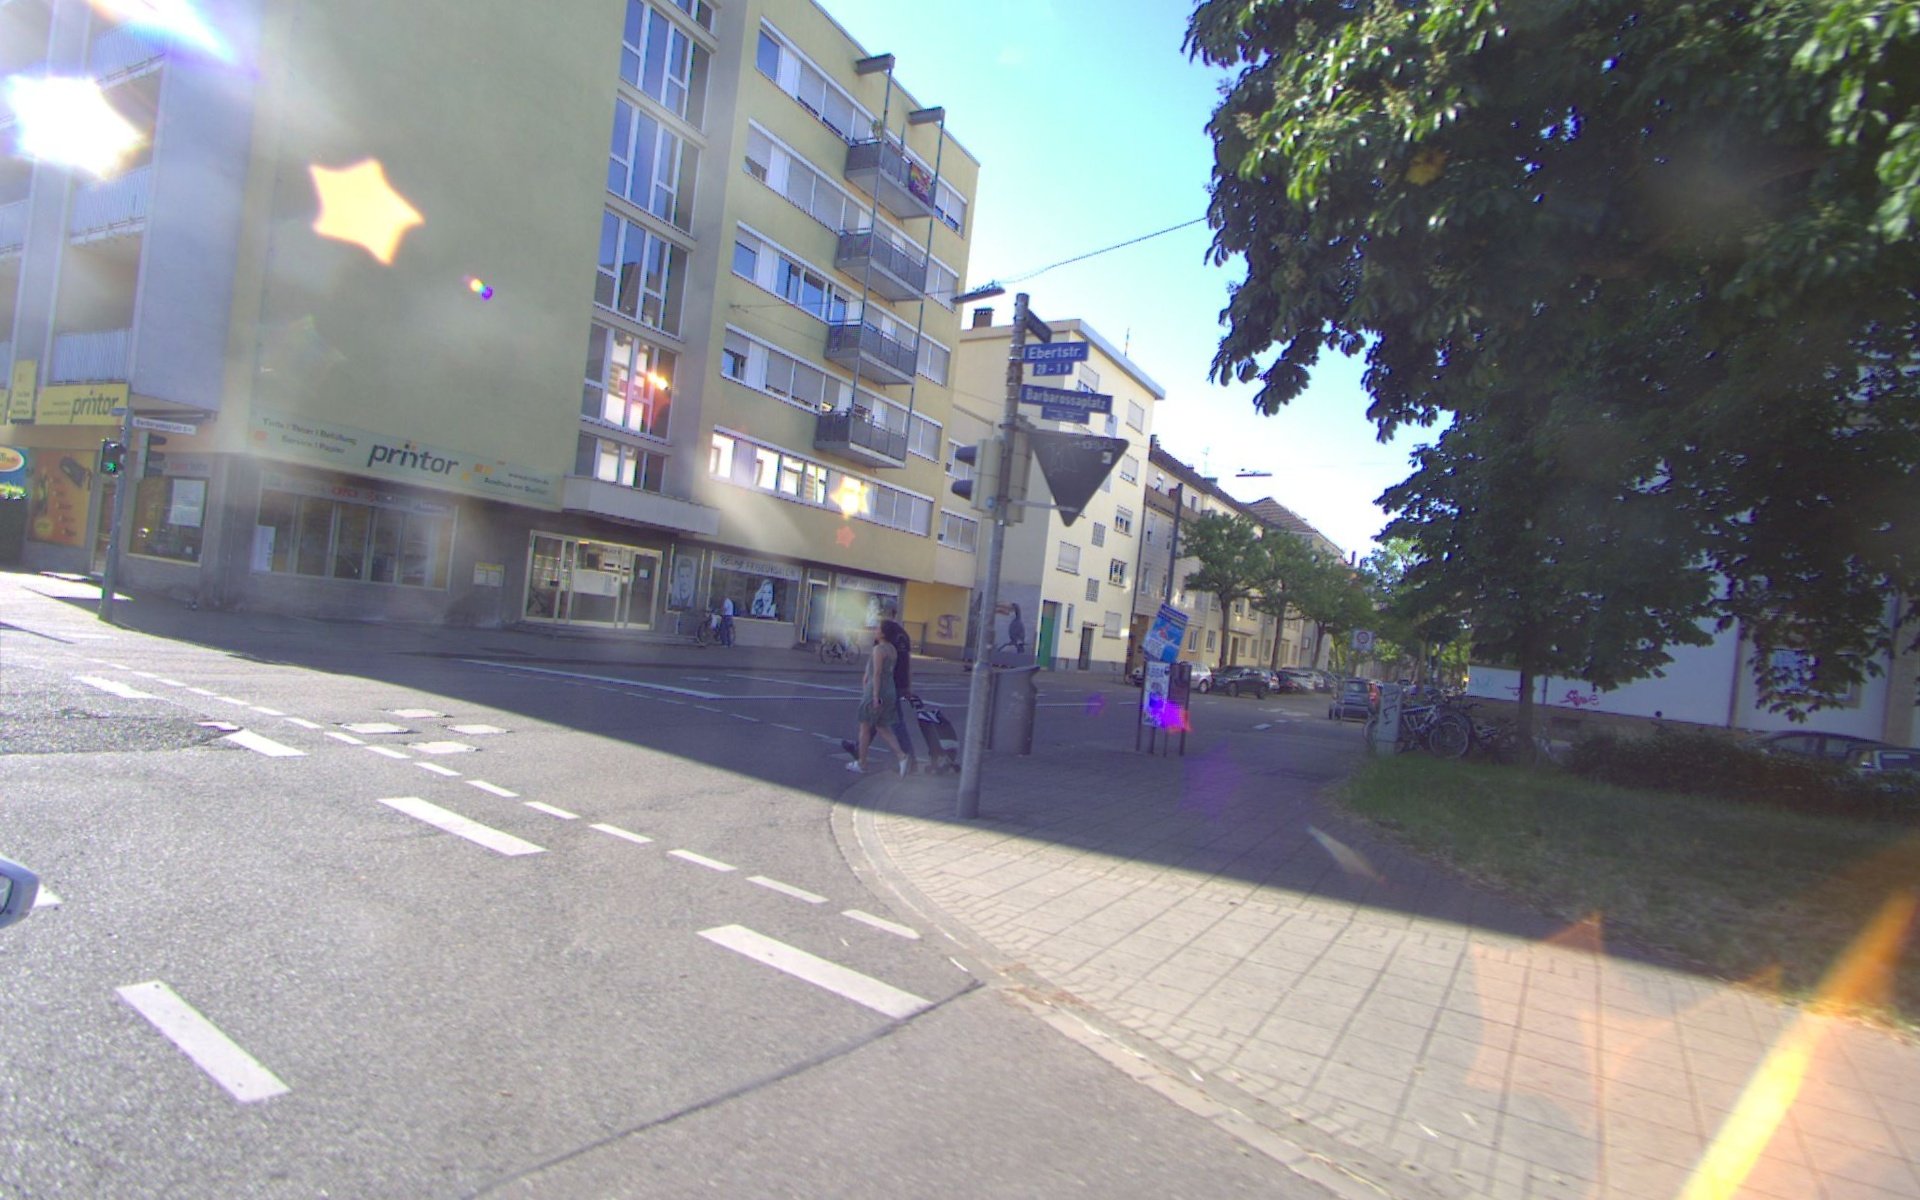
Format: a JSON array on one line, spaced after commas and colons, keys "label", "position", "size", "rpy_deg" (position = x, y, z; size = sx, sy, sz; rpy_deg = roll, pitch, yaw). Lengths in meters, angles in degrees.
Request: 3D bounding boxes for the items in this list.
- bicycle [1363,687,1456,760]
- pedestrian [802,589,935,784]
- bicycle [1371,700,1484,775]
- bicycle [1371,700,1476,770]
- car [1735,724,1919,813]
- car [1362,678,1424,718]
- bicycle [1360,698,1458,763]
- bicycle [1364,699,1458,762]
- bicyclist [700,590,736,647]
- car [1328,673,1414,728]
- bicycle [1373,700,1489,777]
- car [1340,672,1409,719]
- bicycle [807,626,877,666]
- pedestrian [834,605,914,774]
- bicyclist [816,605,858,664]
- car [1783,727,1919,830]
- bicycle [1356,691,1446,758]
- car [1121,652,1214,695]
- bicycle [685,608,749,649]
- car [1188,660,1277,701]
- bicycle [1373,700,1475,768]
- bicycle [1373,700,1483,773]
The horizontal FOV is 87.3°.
[{"label": "bicycle", "position": [10.397, 2.847, 23.282], "size": [1.798, 1.404, 0.432], "rpy_deg": [6, 0, 31]}, {"label": "pedestrian", "position": [-0.934, 0.869, 10.468], "size": [1.014, 1.851, 0.789], "rpy_deg": [5, 1, 15]}, {"label": "bicycle", "position": [8.840, 2.580, 19.060], "size": [1.798, 1.108, 0.365], "rpy_deg": [6, 0, 31]}, {"label": "bicycle", "position": [9.326, 2.694, 20.278], "size": [1.798, 1.108, 0.365], "rpy_deg": [6, 0, 31]}, {"label": "car", "position": [22.127, 4.209, 25.216], "size": [3.933, 1.588, 1.844], "rpy_deg": [6, -1, 31]}, {"label": "car", "position": [19.775, 4.492, 45.867], "size": [1.665, 1.511, 3.989], "rpy_deg": [6, -2, 36]}, {"label": "bicycle", "position": [9.662, 2.800, 21.665], "size": [1.798, 1.108, 0.365], "rpy_deg": [6, 0, 31]}, {"label": "bicycle", "position": [10.067, 2.897, 22.487], "size": [1.798, 1.108, 0.365], "rpy_deg": [6, 0, 31]}, {"label": "bicyclist", "position": [-7.544, 0.576, 31.385], "size": [0.628, 1.700, 0.684], "rpy_deg": [6, 0, 28]}, {"label": "car", "position": [15.350, 3.753, 37.424], "size": [1.969, 1.670, 3.989], "rpy_deg": [6, -2, 36]}, {"label": "bicycle", "position": [8.638, 2.526, 18.490], "size": [1.798, 1.108, 0.365], "rpy_deg": [6, 0, 31]}, {"label": "car", "position": [17.355, 4.015, 42.009], "size": [1.665, 1.670, 3.989], "rpy_deg": [6, -2, 36]}, {"label": "bicycle", "position": [-3.712, 1.472, 31.869], "size": [0.833, 1.062, 2.267], "rpy_deg": [6, -2, 33]}, {"label": "pedestrian", "position": [-0.835, 0.856, 9.829], "size": [0.509, 1.566, 0.505], "rpy_deg": [5, 1, 15]}, {"label": "bicyclist", "position": [-3.854, 1.088, 31.561], "size": [0.804, 1.737, 0.754], "rpy_deg": [8, 0, 33]}, {"label": "car", "position": [16.803, 3.245, 18.546], "size": [1.968, 1.465, 3.992], "rpy_deg": [6, -2, 33]}, {"label": "bicycle", "position": [10.492, 2.940, 23.963], "size": [1.798, 1.301, 0.432], "rpy_deg": [6, 0, 31]}, {"label": "car", "position": [9.616, 3.407, 46.589], "size": [4.136, 1.525, 1.900], "rpy_deg": [8, -2, -38]}, {"label": "bicycle", "position": [-7.552, 0.920, 31.426], "size": [0.631, 1.071, 2.086], "rpy_deg": [6, -2, 27]}, {"label": "car", "position": [13.365, 3.944, 49.210], "size": [4.188, 1.537, 1.980], "rpy_deg": [8, -2, -38]}, {"label": "bicycle", "position": [9.584, 2.750, 20.805], "size": [1.798, 1.108, 0.365], "rpy_deg": [6, 0, 31]}, {"label": "bicycle", "position": [9.050, 2.626, 19.497], "size": [1.798, 1.108, 0.365], "rpy_deg": [6, 0, 31]}]
